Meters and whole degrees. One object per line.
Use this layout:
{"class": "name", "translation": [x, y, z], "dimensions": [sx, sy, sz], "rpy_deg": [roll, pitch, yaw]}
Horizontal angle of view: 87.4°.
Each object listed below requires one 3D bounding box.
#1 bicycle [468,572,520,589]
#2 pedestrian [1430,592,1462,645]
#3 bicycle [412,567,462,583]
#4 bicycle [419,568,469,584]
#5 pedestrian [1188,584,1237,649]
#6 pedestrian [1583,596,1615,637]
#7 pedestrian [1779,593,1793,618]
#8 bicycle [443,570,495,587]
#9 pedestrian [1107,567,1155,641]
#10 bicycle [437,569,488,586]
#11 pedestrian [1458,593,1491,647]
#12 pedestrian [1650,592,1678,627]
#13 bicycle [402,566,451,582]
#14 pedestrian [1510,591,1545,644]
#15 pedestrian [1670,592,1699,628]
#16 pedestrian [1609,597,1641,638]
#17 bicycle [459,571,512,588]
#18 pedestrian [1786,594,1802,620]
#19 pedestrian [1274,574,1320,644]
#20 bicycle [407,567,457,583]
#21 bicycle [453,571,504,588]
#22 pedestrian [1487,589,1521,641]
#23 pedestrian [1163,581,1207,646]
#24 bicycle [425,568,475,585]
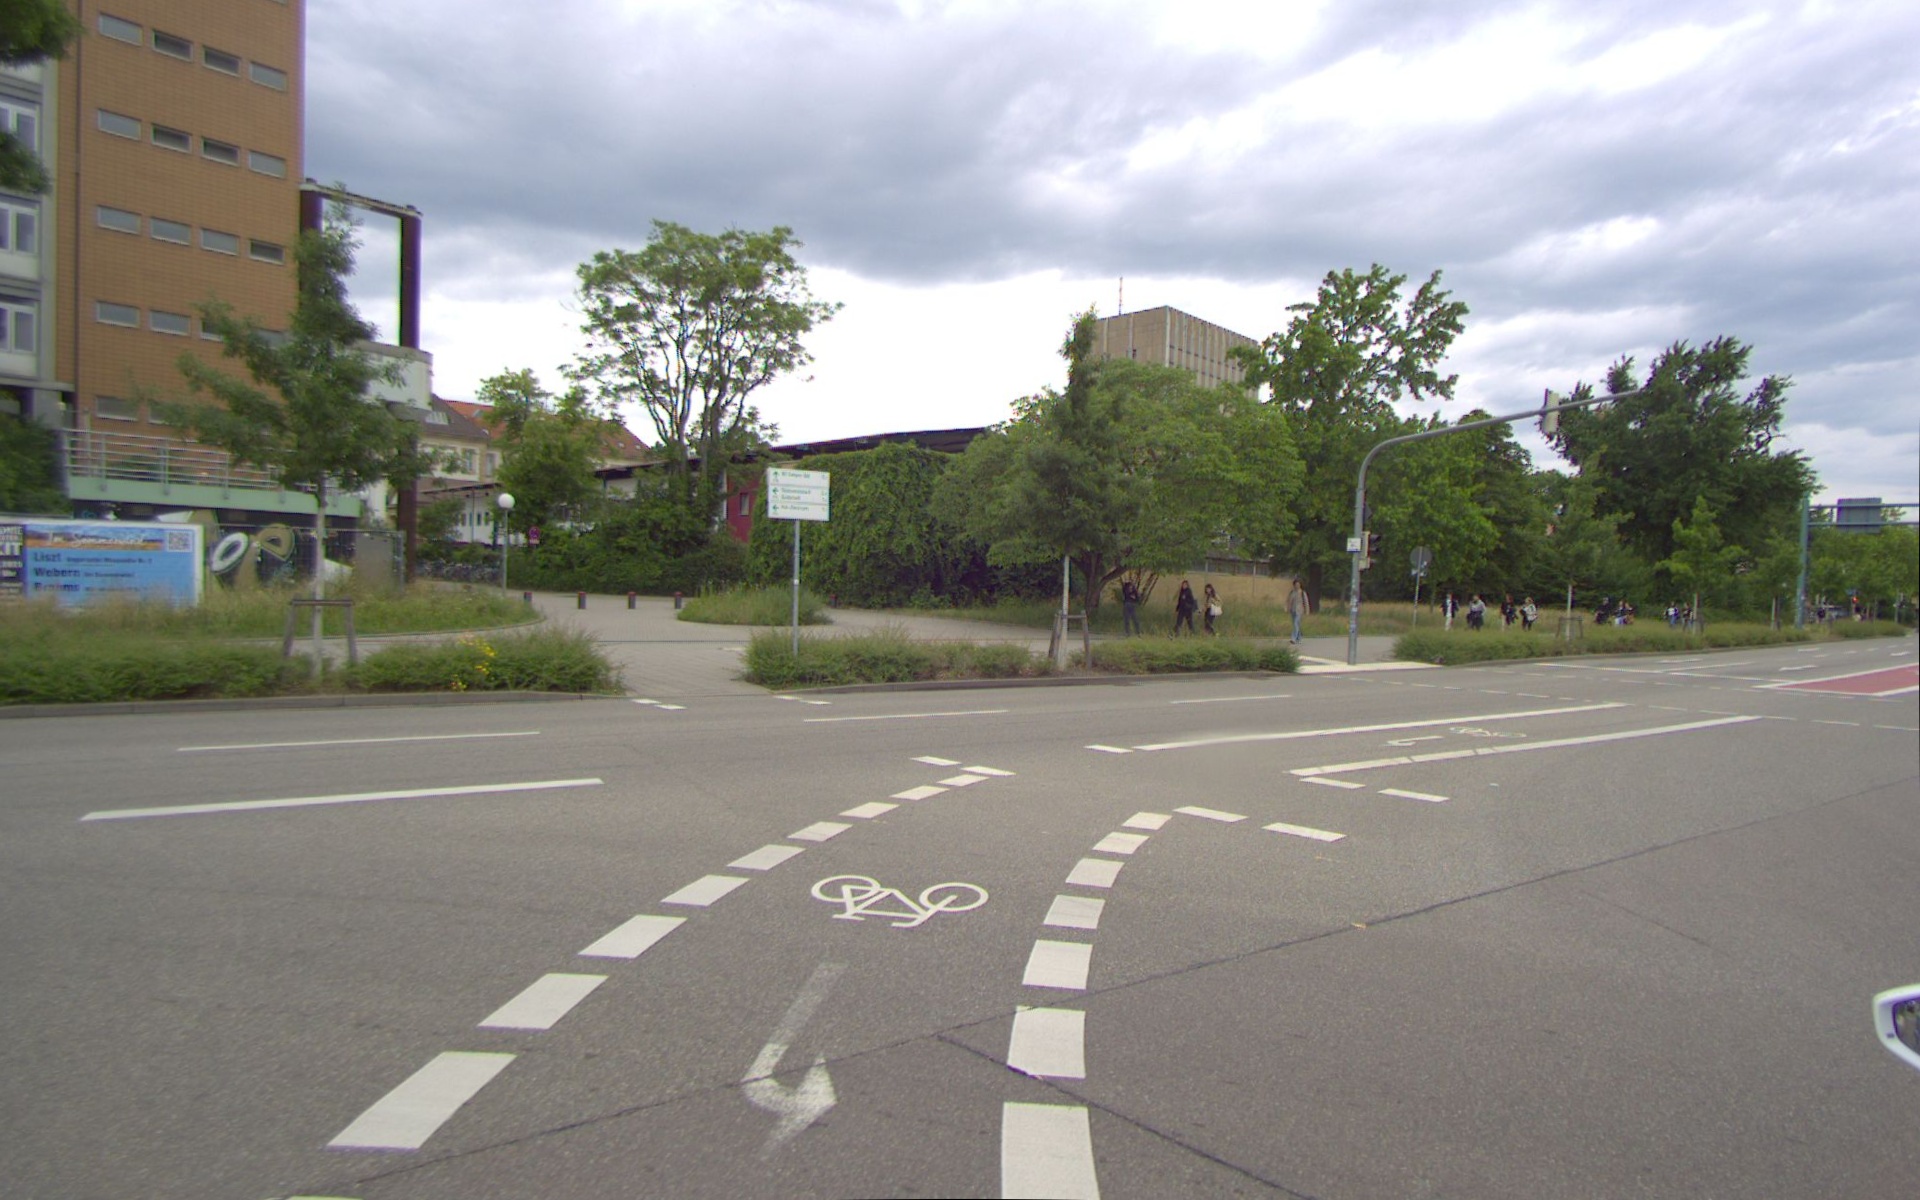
{"class": "bicycle", "translation": [-24.760, -1.021, 53.413], "dimensions": [0.655, 0.874, 2.481], "rpy_deg": [3, 2, 44]}
{"class": "pedestrian", "translation": [17.674, 0.660, 36.526], "dimensions": [0.750, 1.895, 0.709], "rpy_deg": [1, 1, -35]}
{"class": "bicycle", "translation": [-30.377, -1.434, 58.356], "dimensions": [0.655, 0.874, 2.481], "rpy_deg": [3, 2, 44]}
{"class": "bicycle", "translation": [-29.749, -1.393, 57.914], "dimensions": [0.655, 0.874, 2.481], "rpy_deg": [3, 2, 44]}
{"class": "pedestrian", "translation": [6.965, 0.451, 27.692], "dimensions": [1.035, 1.735, 0.751], "rpy_deg": [1, 1, -31]}
{"class": "pedestrian", "translation": [29.118, 0.735, 45.773], "dimensions": [1.055, 1.803, 0.911], "rpy_deg": [0, 2, -39]}
{"class": "pedestrian", "translation": [69.640, 0.459, 84.668], "dimensions": [0.589, 2.041, 0.663], "rpy_deg": [1, 1, -34]}
{"class": "bicycle", "translation": [-27.131, -1.197, 55.535], "dimensions": [0.655, 0.874, 2.481], "rpy_deg": [3, 2, 44]}
{"class": "pedestrian", "translation": [4.815, 0.102, 28.265], "dimensions": [1.035, 2.041, 0.751], "rpy_deg": [1, 1, -31]}
{"class": "bicycle", "translation": [-27.910, -1.260, 56.360], "dimensions": [0.655, 0.874, 2.481], "rpy_deg": [3, 2, 44]}
{"class": "pedestrian", "translation": [18.390, 0.712, 35.918], "dimensions": [0.749, 1.895, 0.710], "rpy_deg": [1, 1, -32]}
{"class": "pedestrian", "translation": [36.808, 0.478, 52.533], "dimensions": [1.055, 1.803, 0.911], "rpy_deg": [0, 2, -39]}
{"class": "bicycle", "translation": [-31.634, -1.530, 59.553], "dimensions": [0.655, 0.874, 2.481], "rpy_deg": [3, 2, 44]}
{"class": "pedestrian", "translation": [22.241, 0.671, 39.376], "dimensions": [1.036, 2.041, 0.750], "rpy_deg": [1, 1, -35]}
{"class": "pedestrian", "translation": [37.384, 0.492, 51.803], "dimensions": [1.055, 1.803, 0.911], "rpy_deg": [0, 2, -39]}
{"class": "pedestrian", "translation": [29.820, 0.775, 45.043], "dimensions": [1.055, 1.803, 0.911], "rpy_deg": [0, 2, -39]}
{"class": "bicycle", "translation": [-25.635, -1.090, 54.296], "dimensions": [0.655, 0.874, 2.481], "rpy_deg": [3, 2, 44]}
{"class": "pedestrian", "translation": [67.081, 0.546, 80.782], "dimensions": [0.774, 2.041, 0.717], "rpy_deg": [1, 1, -34]}
{"class": "pedestrian", "translation": [10.005, 0.268, 29.818], "dimensions": [1.035, 2.041, 0.751], "rpy_deg": [1, 1, -31]}
{"class": "bicycle", "translation": [-30.954, -1.478, 58.903], "dimensions": [0.655, 0.874, 2.481], "rpy_deg": [3, 2, 44]}
{"class": "bicycle", "translation": [-26.303, -1.140, 54.894], "dimensions": [0.655, 0.874, 2.481], "rpy_deg": [3, 2, 44]}
{"class": "pedestrian", "translation": [21.591, 0.585, 39.856], "dimensions": [1.036, 2.041, 0.750], "rpy_deg": [1, 1, -35]}
{"class": "pedestrian", "translation": [6.318, 0.378, 28.230], "dimensions": [0.896, 1.789, 0.751], "rpy_deg": [1, 1, -31]}
{"class": "bicycle", "translation": [-29.023, -1.336, 57.206], "dimensions": [0.655, 0.874, 2.481], "rpy_deg": [3, 2, 44]}
